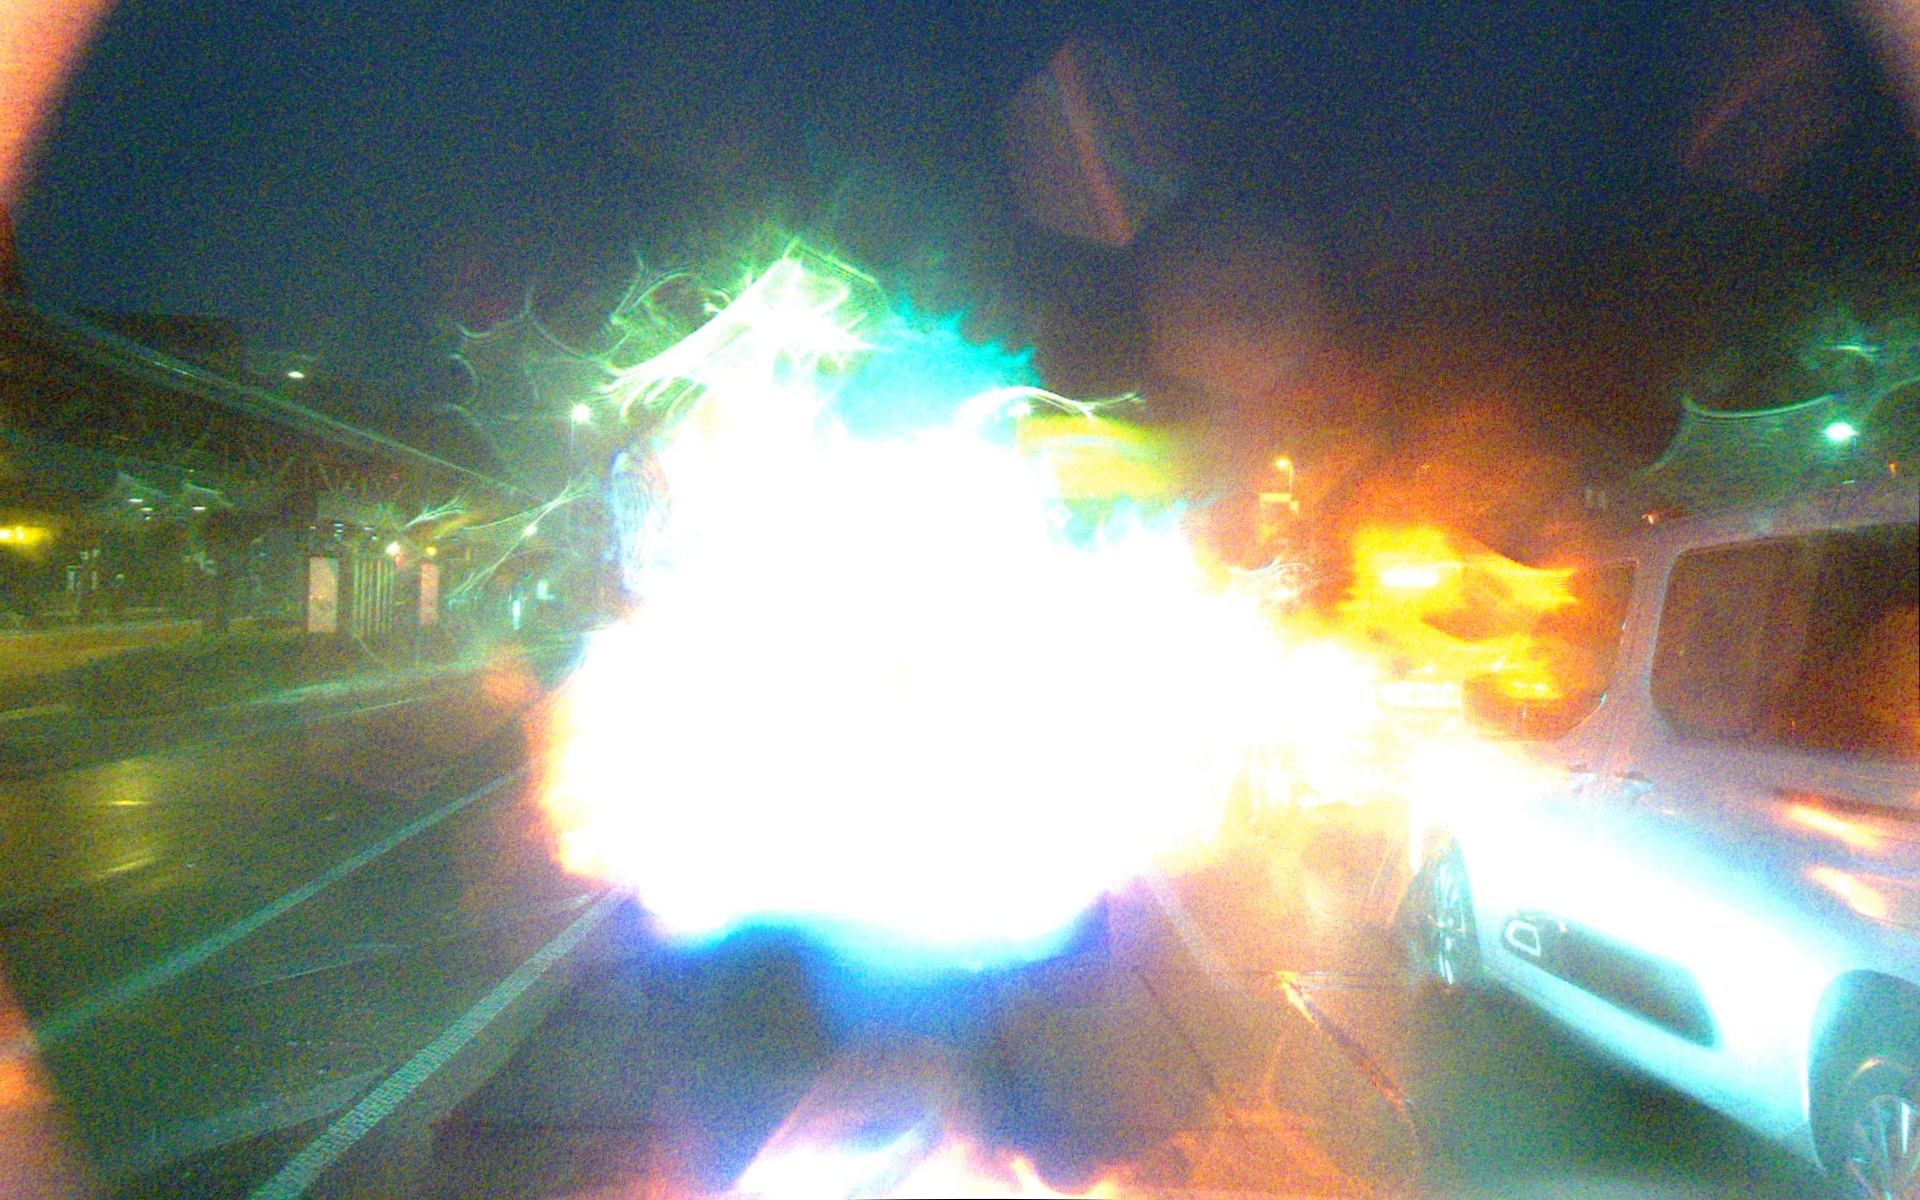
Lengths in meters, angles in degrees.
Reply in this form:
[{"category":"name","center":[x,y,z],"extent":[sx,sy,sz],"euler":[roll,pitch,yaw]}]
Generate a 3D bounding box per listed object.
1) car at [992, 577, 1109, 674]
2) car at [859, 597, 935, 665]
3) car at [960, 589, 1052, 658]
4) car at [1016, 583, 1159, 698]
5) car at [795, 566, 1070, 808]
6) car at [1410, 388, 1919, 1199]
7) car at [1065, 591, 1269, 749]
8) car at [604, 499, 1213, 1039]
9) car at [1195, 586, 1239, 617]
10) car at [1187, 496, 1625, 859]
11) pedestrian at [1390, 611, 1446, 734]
[{"category":"car","center":[1.766,0.495,33.541],"extent":[1.954,1.804,3.998],"euler":[1,0,-3]},{"category":"car","center":[-1.872,0.870,48.112],"extent":[1.955,1.856,3.995],"euler":[1,0,-6]},{"category":"car","center":[1.075,0.551,40.607],"extent":[1.821,1.571,3.926],"euler":[1,0,-5]},{"category":"car","center":[1.999,0.622,27.073],"extent":[1.953,1.699,3.999],"euler":[1,0,-1]},{"category":"car","center":[-0.228,0.638,13.941],"extent":[1.953,1.713,3.999],"euler":[1,0,-1]},{"category":"car","center":[2.762,0.555,4.499],"extent":[1.814,1.897,4.339],"euler":[1,0,-1]},{"category":"car","center":[2.452,0.796,20.578],"extent":[1.953,1.748,3.999],"euler":[1,0,-1]},{"category":"car","center":[-0.238,0.572,7.672],"extent":[1.974,1.747,4.450],"euler":[1,0,-2]},{"category":"car","center":[14.612,0.116,94.275],"extent":[1.827,1.675,3.962],"euler":[-2,0,0]},{"category":"car","center":[2.877,0.462,11.637],"extent":[1.929,2.082,3.999],"euler":[1,0,-1]},{"category":"pedestrian","center":[6.540,1.026,23.635],"extent":[0.610,1.731,0.540],"euler":[1,-1,-3]}]
